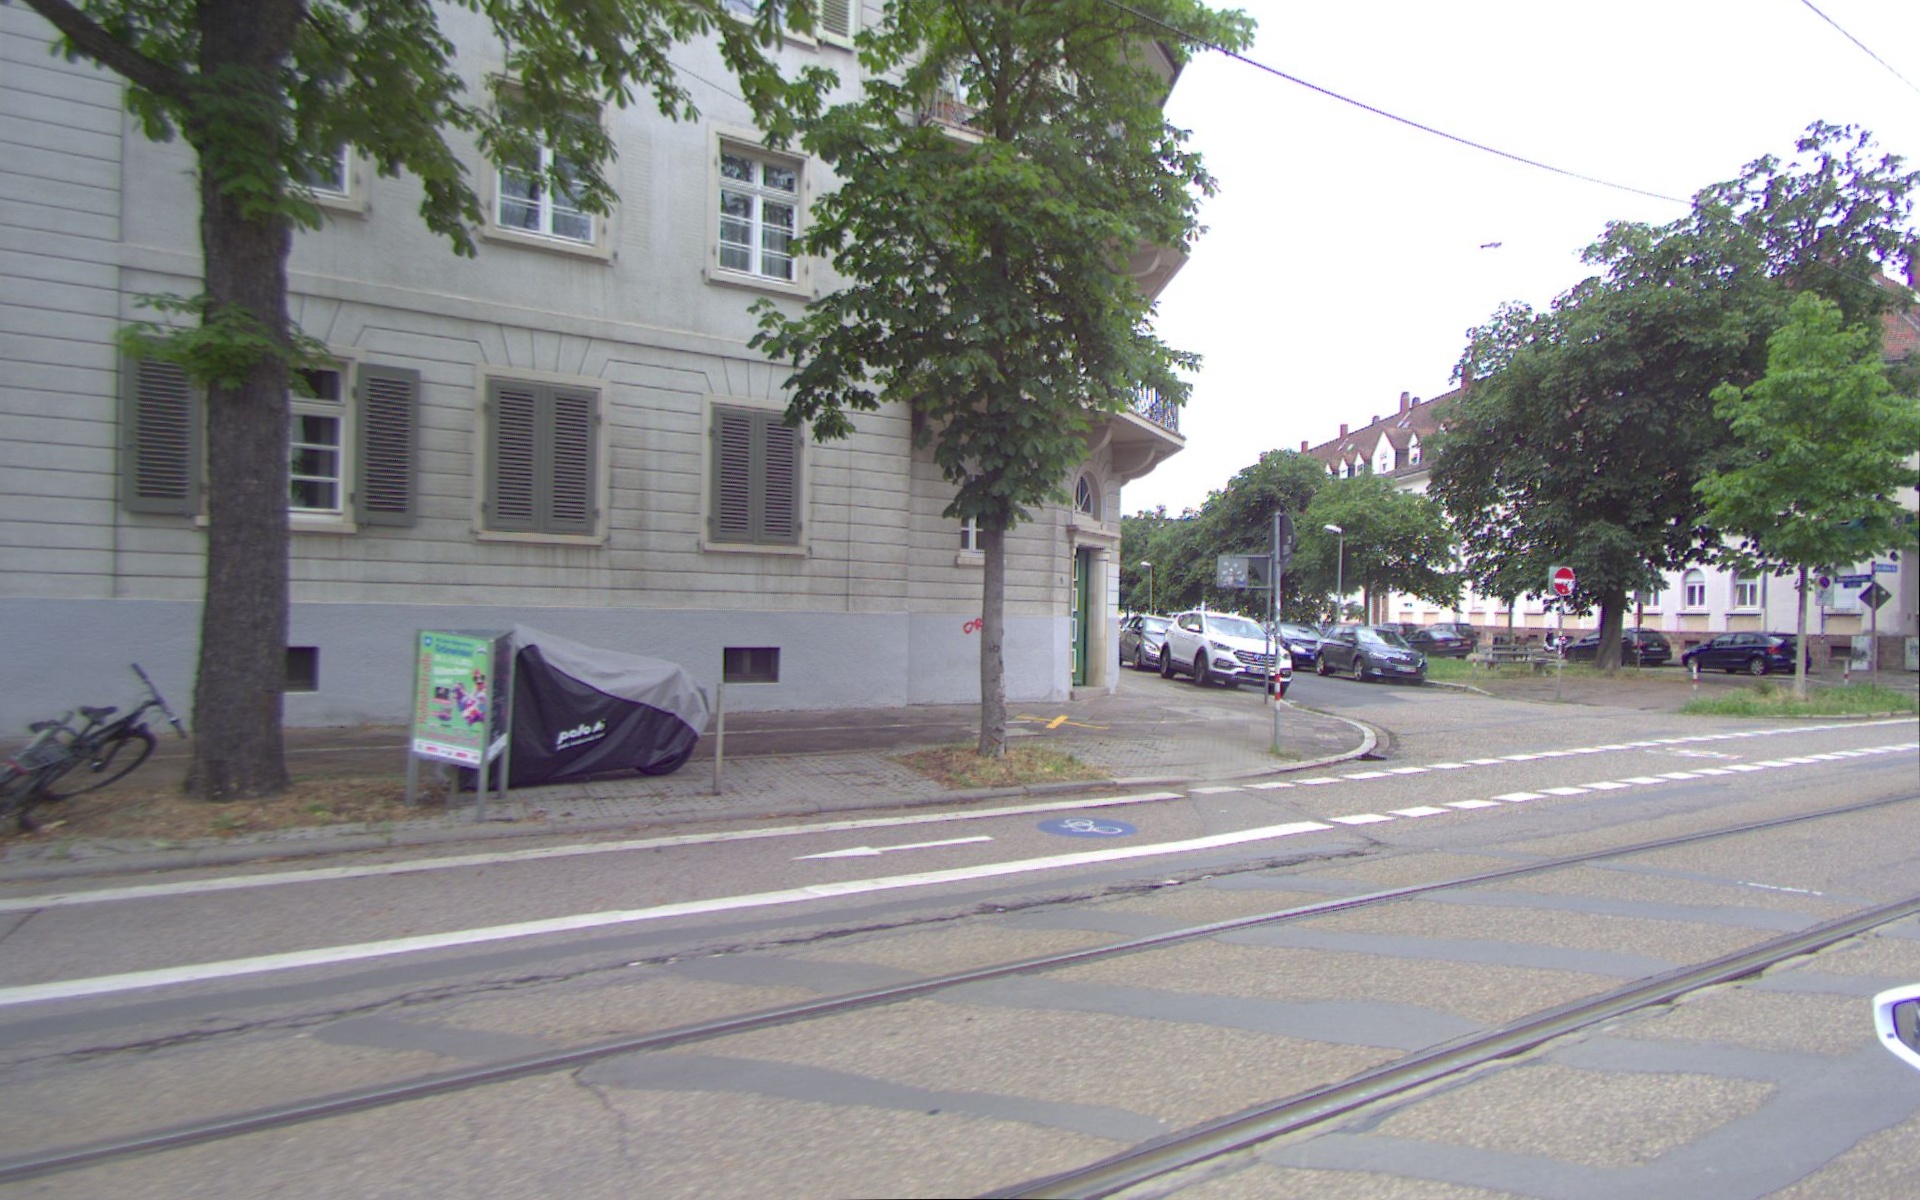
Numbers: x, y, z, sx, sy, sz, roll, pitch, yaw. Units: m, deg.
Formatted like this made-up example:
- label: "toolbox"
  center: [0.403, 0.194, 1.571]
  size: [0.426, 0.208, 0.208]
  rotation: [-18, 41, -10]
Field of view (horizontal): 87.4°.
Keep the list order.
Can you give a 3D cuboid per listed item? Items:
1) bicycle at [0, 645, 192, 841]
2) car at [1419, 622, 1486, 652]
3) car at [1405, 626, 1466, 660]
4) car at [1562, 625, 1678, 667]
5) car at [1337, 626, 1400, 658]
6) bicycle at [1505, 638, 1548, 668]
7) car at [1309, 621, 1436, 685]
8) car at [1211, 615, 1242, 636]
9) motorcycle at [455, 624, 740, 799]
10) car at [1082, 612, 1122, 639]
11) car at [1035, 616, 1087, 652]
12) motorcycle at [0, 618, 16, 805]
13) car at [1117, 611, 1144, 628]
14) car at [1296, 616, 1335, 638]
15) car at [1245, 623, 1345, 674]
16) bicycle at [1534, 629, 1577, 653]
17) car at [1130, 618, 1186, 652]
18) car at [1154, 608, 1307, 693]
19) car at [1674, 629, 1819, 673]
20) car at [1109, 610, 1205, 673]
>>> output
- label: "bicycle"
  center: [-5.729, 0.861, 6.506]
  size: [0.917, 1.018, 1.371]
  rotation: [1, 3, -25]
- label: "car"
  center: [25.985, 1.939, 53.097]
  size: [1.642, 1.460, 3.498]
  rotation: [1, 0, -3]
- label: "car"
  center: [20.615, 1.837, 43.645]
  size: [1.329, 1.317, 2.968]
  rotation: [1, 0, 2]
- label: "car"
  center: [26.031, 1.794, 39.782]
  size: [1.675, 1.483, 3.941]
  rotation: [1, 0, -7]
- label: "car"
  center: [20.477, 2.066, 50.529]
  size: [1.640, 1.428, 4.001]
  rotation: [1, 0, 2]
- label: "bicycle"
  center: [18.971, 1.754, 33.685]
  size: [0.440, 0.937, 1.674]
  rotation: [1, 0, -2]
- label: "car"
  center: [10.911, 1.355, 26.881]
  size: [1.629, 1.429, 4.070]
  rotation: [2, 0, -1]
- label: "car"
  center: [19.057, 1.789, 71.930]
  size: [1.270, 1.409, 3.117]
  rotation: [1, 0, -3]
- label: "motorcycle"
  center: [-2.918, 0.851, 8.251]
  size: [2.122, 1.274, 0.536]
  rotation: [1, 0, -37]
- label: "car"
  center: [9.147, 1.613, 65.071]
  size: [1.729, 1.573, 4.187]
  rotation: [2, 0, -3]
- label: "car"
  center: [4.721, 1.549, 47.328]
  size: [1.739, 1.572, 4.150]
  rotation: [1, -1, -4]
- label: "motorcycle"
  center: [-6.463, 0.749, 6.173]
  size: [0.540, 1.238, 1.282]
  rotation: [1, 1, -23]
- label: "car"
  center: [17.692, 2.002, 104.455]
  size: [1.863, 1.632, 4.498]
  rotation: [1, 0, -3]
- label: "car"
  center: [24.588, 1.851, 69.617]
  size: [1.362, 1.449, 3.310]
  rotation: [1, 0, -3]
- label: "car"
  center: [10.614, 1.501, 32.111]
  size: [1.633, 1.364, 4.008]
  rotation: [2, 0, -3]
- label: "bicycle"
  center: [28.420, 1.935, 47.964]
  size: [0.641, 1.049, 2.190]
  rotation: [1, 0, -3]
- label: "car"
  center: [9.862, 1.722, 50.376]
  size: [1.768, 1.573, 4.187]
  rotation: [0, -1, -4]
- label: "car"
  center: [5.938, 1.046, 22.671]
  size: [1.902, 1.685, 4.513]
  rotation: [1, 0, -5]
- label: "car"
  center: [26.459, 1.684, 33.957]
  size: [1.708, 1.324, 3.758]
  rotation: [1, -1, -6]
- label: "car"
  center: [5.571, 1.130, 28.859]
  size: [1.705, 1.533, 4.046]
  rotation: [3, 0, -3]
